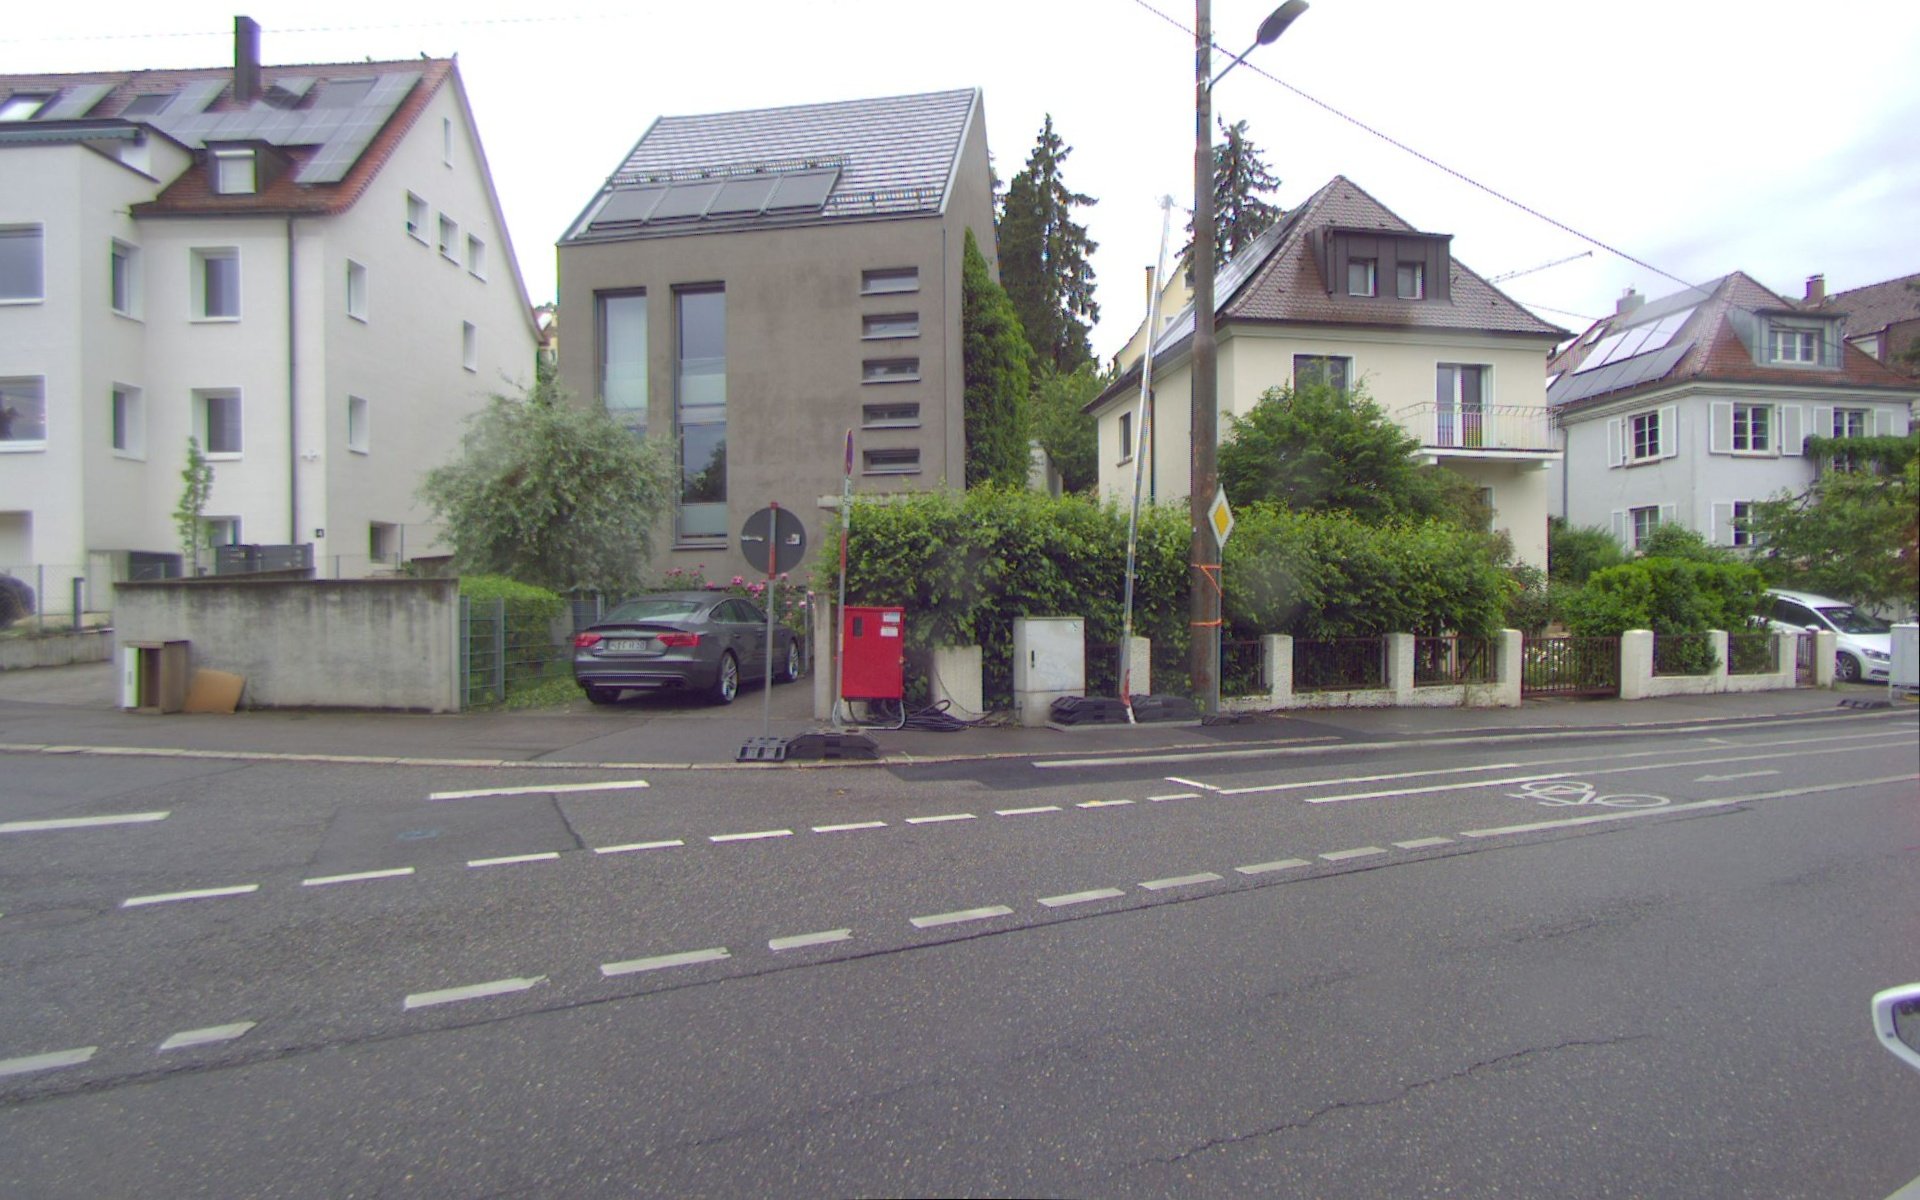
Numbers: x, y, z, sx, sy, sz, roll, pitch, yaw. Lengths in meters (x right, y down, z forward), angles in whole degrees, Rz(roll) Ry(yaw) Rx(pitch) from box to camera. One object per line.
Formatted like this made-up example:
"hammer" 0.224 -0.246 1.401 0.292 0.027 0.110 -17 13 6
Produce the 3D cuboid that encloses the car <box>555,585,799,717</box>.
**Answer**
"car" -3.602 0.561 13.586 1.740 1.506 4.002 0 1 7

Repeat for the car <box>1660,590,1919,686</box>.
"car" 19.602 0.815 23.925 1.870 2.033 4.628 1 0 -18

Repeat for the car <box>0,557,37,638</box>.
"car" -16.725 0.047 15.178 1.576 1.298 4.008 2 4 6
